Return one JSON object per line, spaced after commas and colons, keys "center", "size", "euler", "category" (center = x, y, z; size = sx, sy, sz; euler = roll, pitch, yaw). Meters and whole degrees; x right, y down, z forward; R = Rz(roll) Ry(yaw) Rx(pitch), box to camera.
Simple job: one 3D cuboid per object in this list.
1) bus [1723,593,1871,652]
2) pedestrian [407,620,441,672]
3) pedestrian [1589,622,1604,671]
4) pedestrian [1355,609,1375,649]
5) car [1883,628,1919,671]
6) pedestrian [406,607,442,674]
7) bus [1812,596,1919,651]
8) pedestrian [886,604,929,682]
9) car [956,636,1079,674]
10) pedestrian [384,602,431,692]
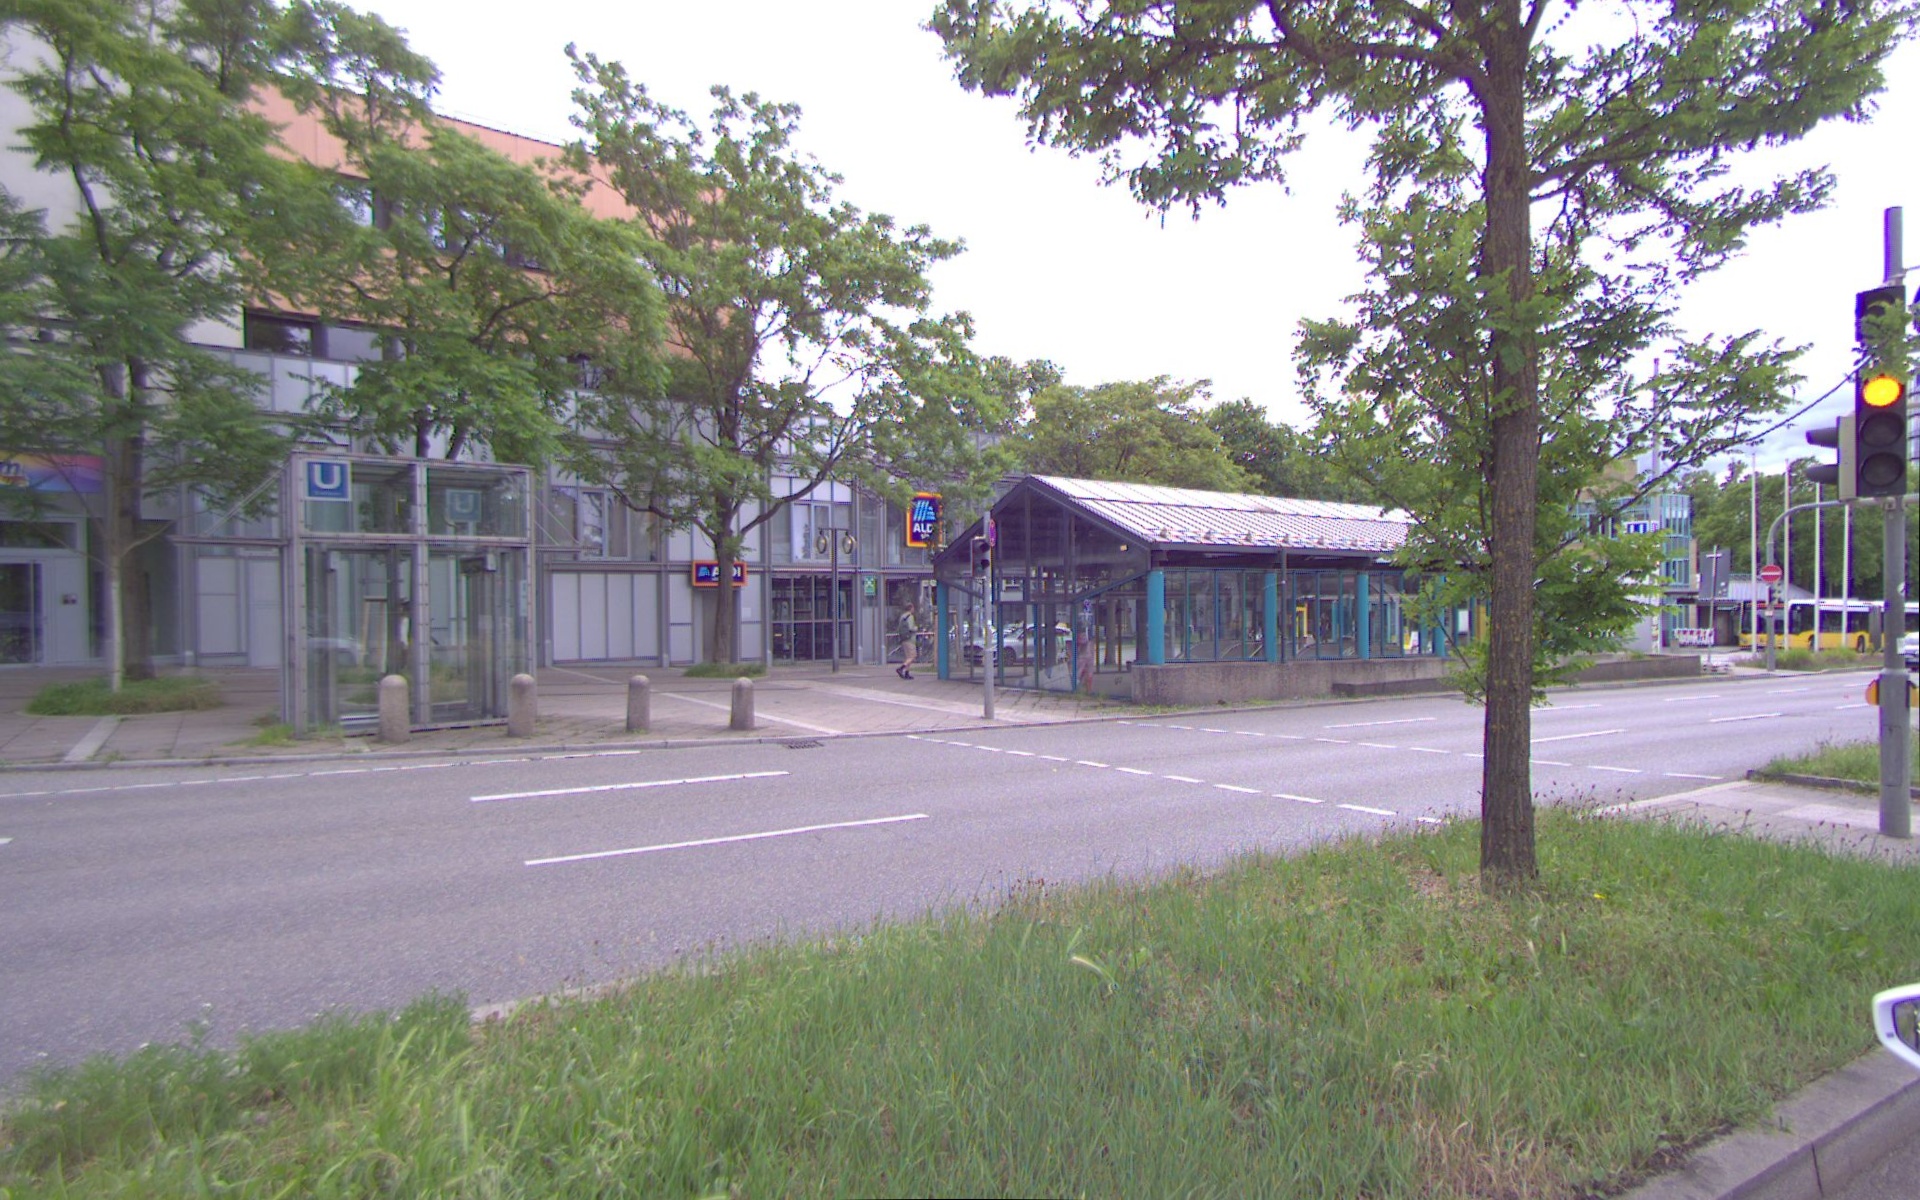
{"center": [49.921, 1.381, 59.829], "size": [10.036, 3.293, 2.980], "euler": [1, -1, -26], "category": "bus"}
{"center": [-12.585, 1.082, 23.597], "size": [0.617, 1.197, 0.417], "euler": [1, -1, -40], "category": "pedestrian"}
{"center": [21.013, 1.526, 33.151], "size": [0.412, 1.612, 0.356], "euler": [0, -1, 31], "category": "pedestrian"}
{"center": [17.340, 1.237, 43.023], "size": [0.703, 1.677, 0.517], "euler": [1, 0, -37], "category": "pedestrian"}
{"center": [37.548, 1.915, 39.167], "size": [3.316, 1.599, 1.673], "euler": [1, -1, -36], "category": "car"}
{"center": [-12.324, 0.927, 23.079], "size": [0.617, 1.523, 0.562], "euler": [1, -1, -39], "category": "pedestrian"}
{"center": [57.918, 1.542, 63.770], "size": [7.771, 3.313, 2.980], "euler": [1, -1, -26], "category": "bus"}
{"center": [-1.286, 1.042, 24.625], "size": [0.530, 1.857, 0.916], "euler": [0, -1, 44], "category": "pedestrian"}
{"center": [1.993, 1.852, 34.386], "size": [3.959, 1.184, 1.812], "euler": [1, -2, -34], "category": "car"}
{"center": [-10.461, 0.874, 19.018], "size": [0.714, 1.672, 0.672], "euler": [1, 0, -34], "category": "pedestrian"}
